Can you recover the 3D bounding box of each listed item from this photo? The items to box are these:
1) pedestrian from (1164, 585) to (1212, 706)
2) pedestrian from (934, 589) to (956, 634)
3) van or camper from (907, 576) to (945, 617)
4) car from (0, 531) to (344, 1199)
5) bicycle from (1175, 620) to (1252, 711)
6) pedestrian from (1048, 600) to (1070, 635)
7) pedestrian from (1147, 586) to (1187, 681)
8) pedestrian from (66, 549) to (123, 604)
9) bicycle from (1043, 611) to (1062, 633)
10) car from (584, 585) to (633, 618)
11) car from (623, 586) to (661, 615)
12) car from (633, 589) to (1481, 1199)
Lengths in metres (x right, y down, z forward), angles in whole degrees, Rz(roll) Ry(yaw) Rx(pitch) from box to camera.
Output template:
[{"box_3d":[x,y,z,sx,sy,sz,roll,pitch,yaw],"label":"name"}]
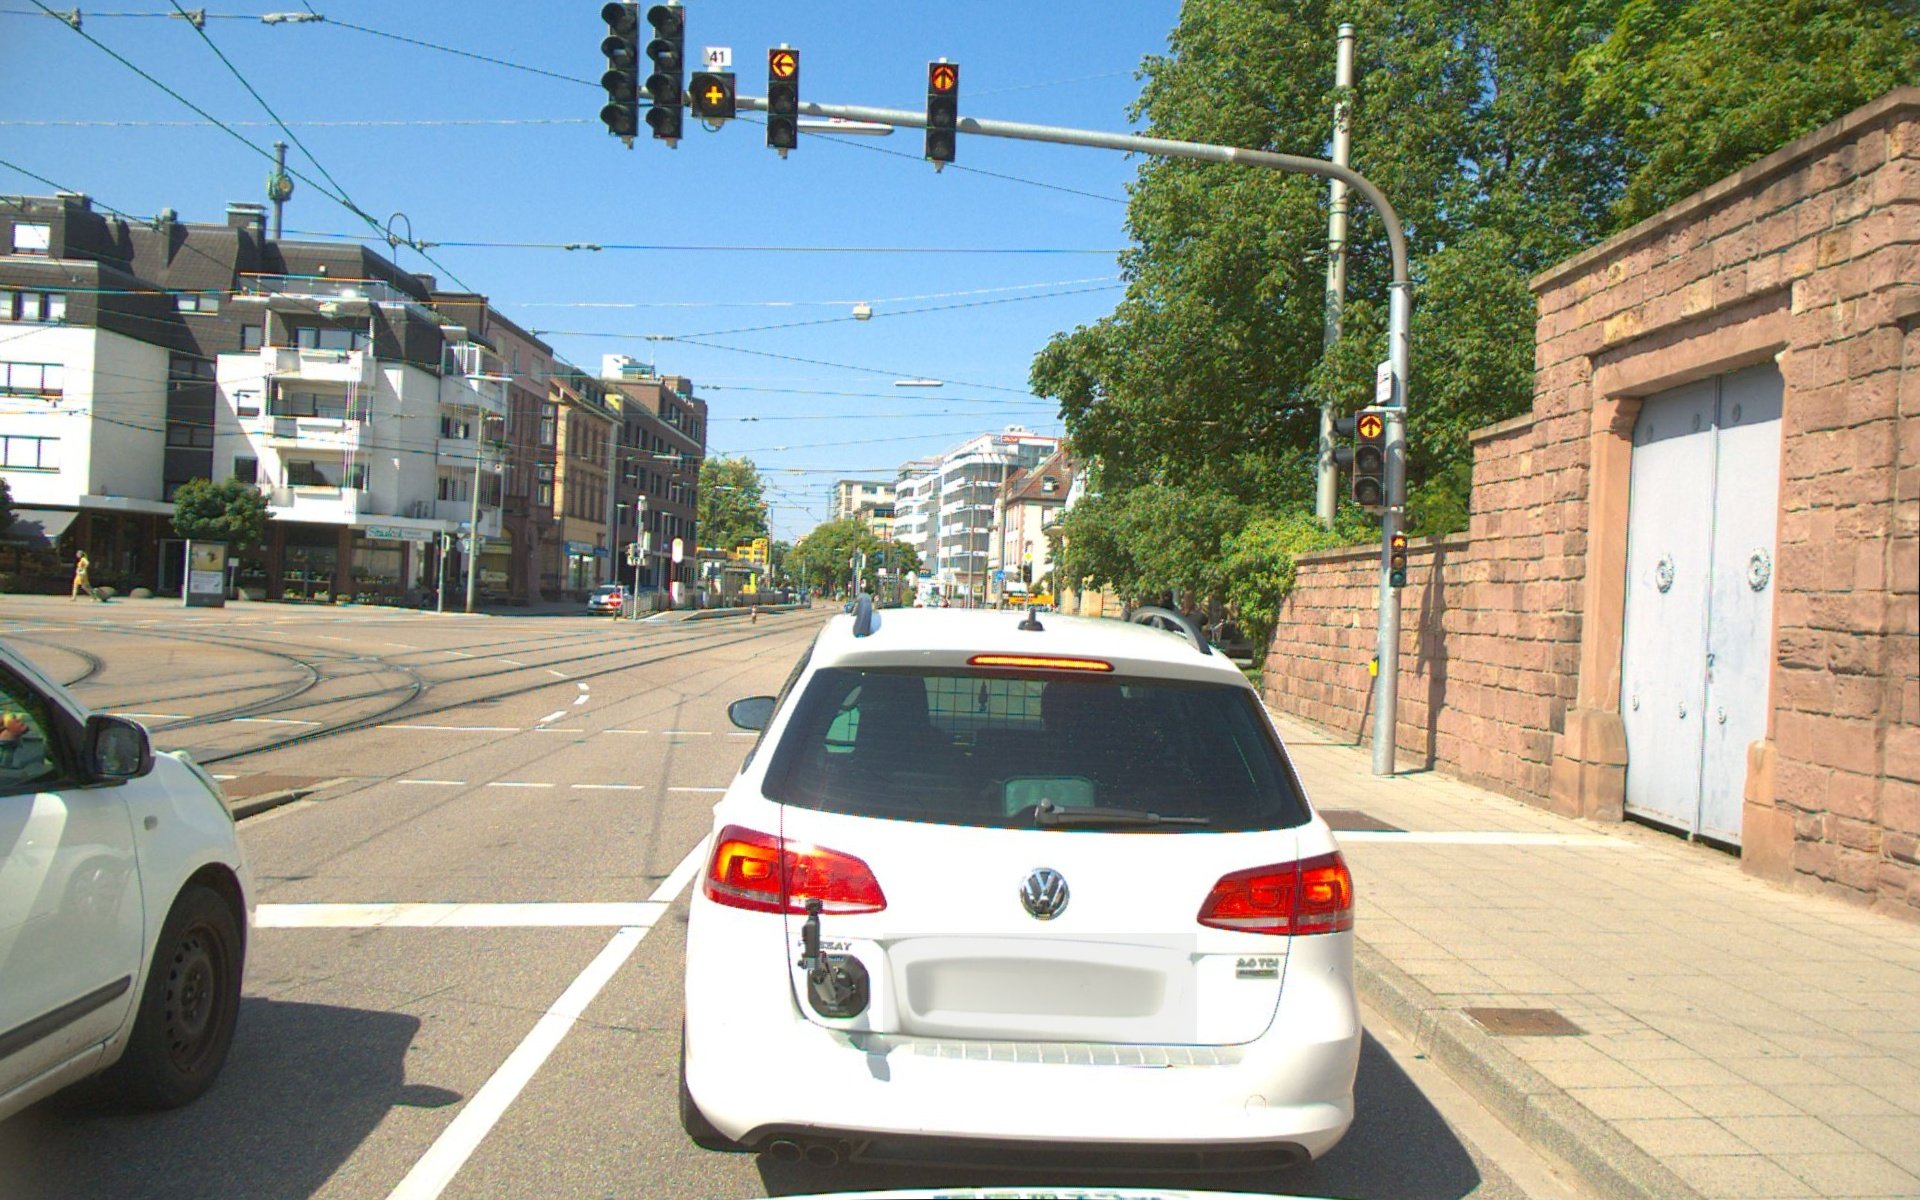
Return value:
[{"box_3d":[3.029,0.592,21.979,0.529,1.576,0.663,0,0,-2],"label":"pedestrian"},{"box_3d":[-0.631,0.483,70.036,0.813,1.841,0.830,2,0,5],"label":"pedestrian"},{"box_3d":[-2.801,-0.314,138.077,2.883,3.235,6.613,2,0,0],"label":"van or camper"},{"box_3d":[-2.899,0.633,3.444,1.730,1.588,4.066,1,0,-1],"label":"car"},{"box_3d":[3.357,0.849,22.043,0.525,1.131,1.804,2,-1,-7],"label":"bicycle"},{"box_3d":[4.554,0.808,76.259,0.837,1.536,0.782,2,0,12],"label":"pedestrian"},{"box_3d":[3.809,0.612,30.504,0.636,1.711,0.708,2,0,5],"label":"pedestrian"},{"box_3d":[-30.353,-0.824,58.001,1.103,1.868,1.430,2,0,43],"label":"pedestrian"},{"box_3d":[5.086,1.217,90.492,0.710,1.159,2.196,2,0,11],"label":"bicycle"},{"box_3d":[-17.003,0.088,80.116,1.593,1.456,3.961,4,0,-3],"label":"car"},{"box_3d":[-17.176,0.030,89.399,1.542,1.484,3.811,2,0,-4],"label":"car"},{"box_3d":[0.179,0.729,5.358,1.717,1.442,3.852,2,0,-1],"label":"car"}]
